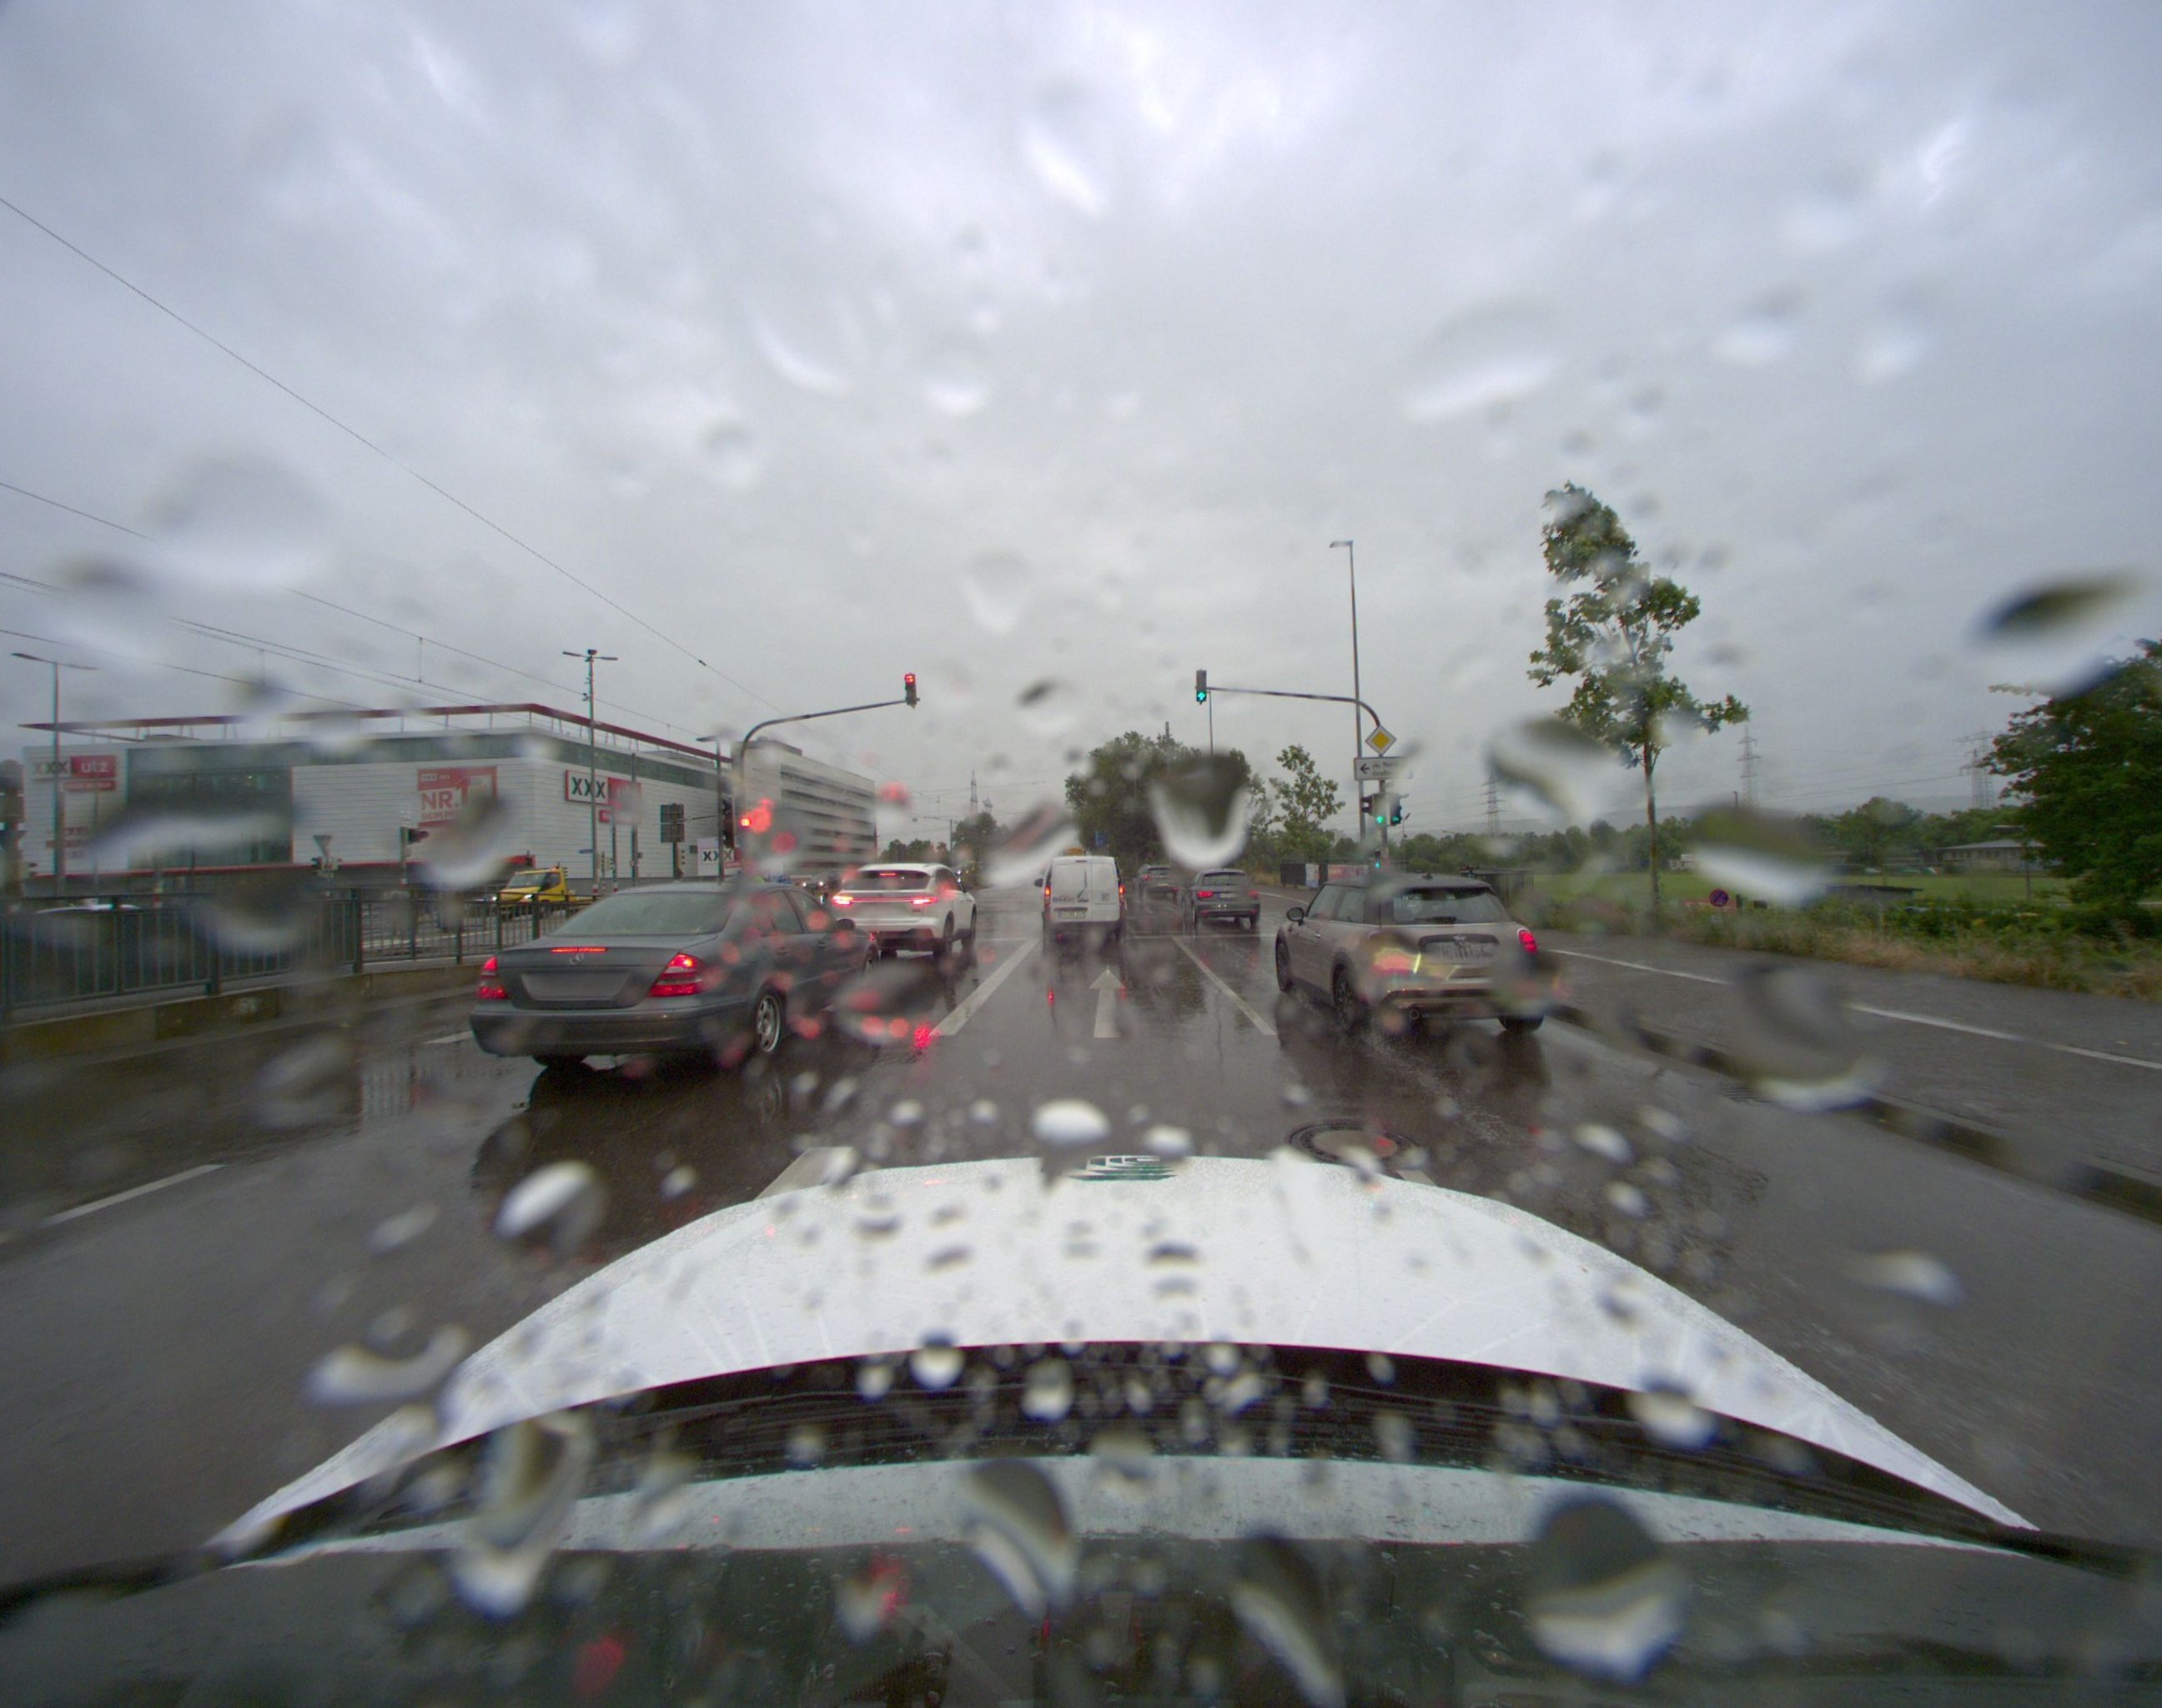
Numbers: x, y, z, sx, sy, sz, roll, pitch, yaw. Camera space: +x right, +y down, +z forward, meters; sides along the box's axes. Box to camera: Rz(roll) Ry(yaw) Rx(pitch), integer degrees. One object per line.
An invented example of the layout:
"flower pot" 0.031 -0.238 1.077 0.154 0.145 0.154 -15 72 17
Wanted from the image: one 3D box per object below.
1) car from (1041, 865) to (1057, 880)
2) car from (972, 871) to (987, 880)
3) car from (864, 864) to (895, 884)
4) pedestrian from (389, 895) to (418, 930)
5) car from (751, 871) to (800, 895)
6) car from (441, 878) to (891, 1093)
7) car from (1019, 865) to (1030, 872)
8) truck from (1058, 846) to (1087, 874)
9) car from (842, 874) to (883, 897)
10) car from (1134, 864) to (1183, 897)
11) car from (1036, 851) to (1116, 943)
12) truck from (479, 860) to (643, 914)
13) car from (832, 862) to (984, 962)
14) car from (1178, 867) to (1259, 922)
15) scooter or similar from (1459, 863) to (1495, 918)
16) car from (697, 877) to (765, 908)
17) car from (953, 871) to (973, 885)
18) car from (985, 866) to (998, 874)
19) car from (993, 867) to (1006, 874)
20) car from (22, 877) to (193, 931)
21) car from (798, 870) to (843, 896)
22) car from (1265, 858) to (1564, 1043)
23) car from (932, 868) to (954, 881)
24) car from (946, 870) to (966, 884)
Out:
"car" -4.137 2.350 104.079 1.990 1.860 3.994 0 -2 -4
"car" -18.687 4.010 150.427 1.985 1.663 4.004 -1 -2 4
"car" -21.263 2.135 86.138 1.984 2.014 4.005 -1 -2 5
"pedestrian" -30.986 2.654 37.239 0.561 1.537 0.873 0 -2 1
"car" -22.063 2.118 58.964 1.720 1.661 3.545 0 -4 9
"car" -3.272 0.939 7.692 1.756 1.399 4.645 0 -2 1
"car" -13.935 3.569 200.671 1.985 1.757 4.004 -1 -2 4
"truck" -0.824 0.701 84.940 2.623 2.816 7.147 -1 -2 2
"car" -18.195 2.594 68.113 1.919 1.827 4.007 -1 -2 7
"car" 3.510 1.187 37.423 1.854 1.429 3.806 0 -1 -1
"car" -0.015 0.901 18.183 1.560 1.788 4.002 -1 -1 2
"truck" -24.291 1.503 38.619 2.340 2.279 7.642 -1 -1 5
"car" -2.932 0.915 14.723 1.722 1.535 4.299 0 -1 1
"car" 3.569 1.026 21.682 1.623 1.344 3.624 0 -1 1
"scooter or similar" 8.625 0.792 17.765 0.244 1.158 1.187 -1 -2 4
"car" -20.367 2.194 47.518 1.883 1.699 4.007 -1 -2 6
"car" -16.686 3.383 115.718 1.985 2.014 4.004 -1 -2 4
"car" -18.145 3.265 165.186 1.985 1.708 4.004 -1 -2 4
"car" -17.321 3.532 172.714 1.985 1.587 4.004 -1 -2 4
"car" -37.845 1.925 31.736 4.298 2.014 2.001 0 -2 2
"car" -19.295 2.203 60.455 1.838 1.798 4.003 -2 -3 3
"car" 3.145 0.826 8.510 1.707 1.508 3.624 0 -1 1
"car" -16.808 2.489 99.442 1.755 1.550 3.683 -1 -2 4
"car" -16.645 3.097 108.289 1.815 1.807 3.772 -1 -2 4
